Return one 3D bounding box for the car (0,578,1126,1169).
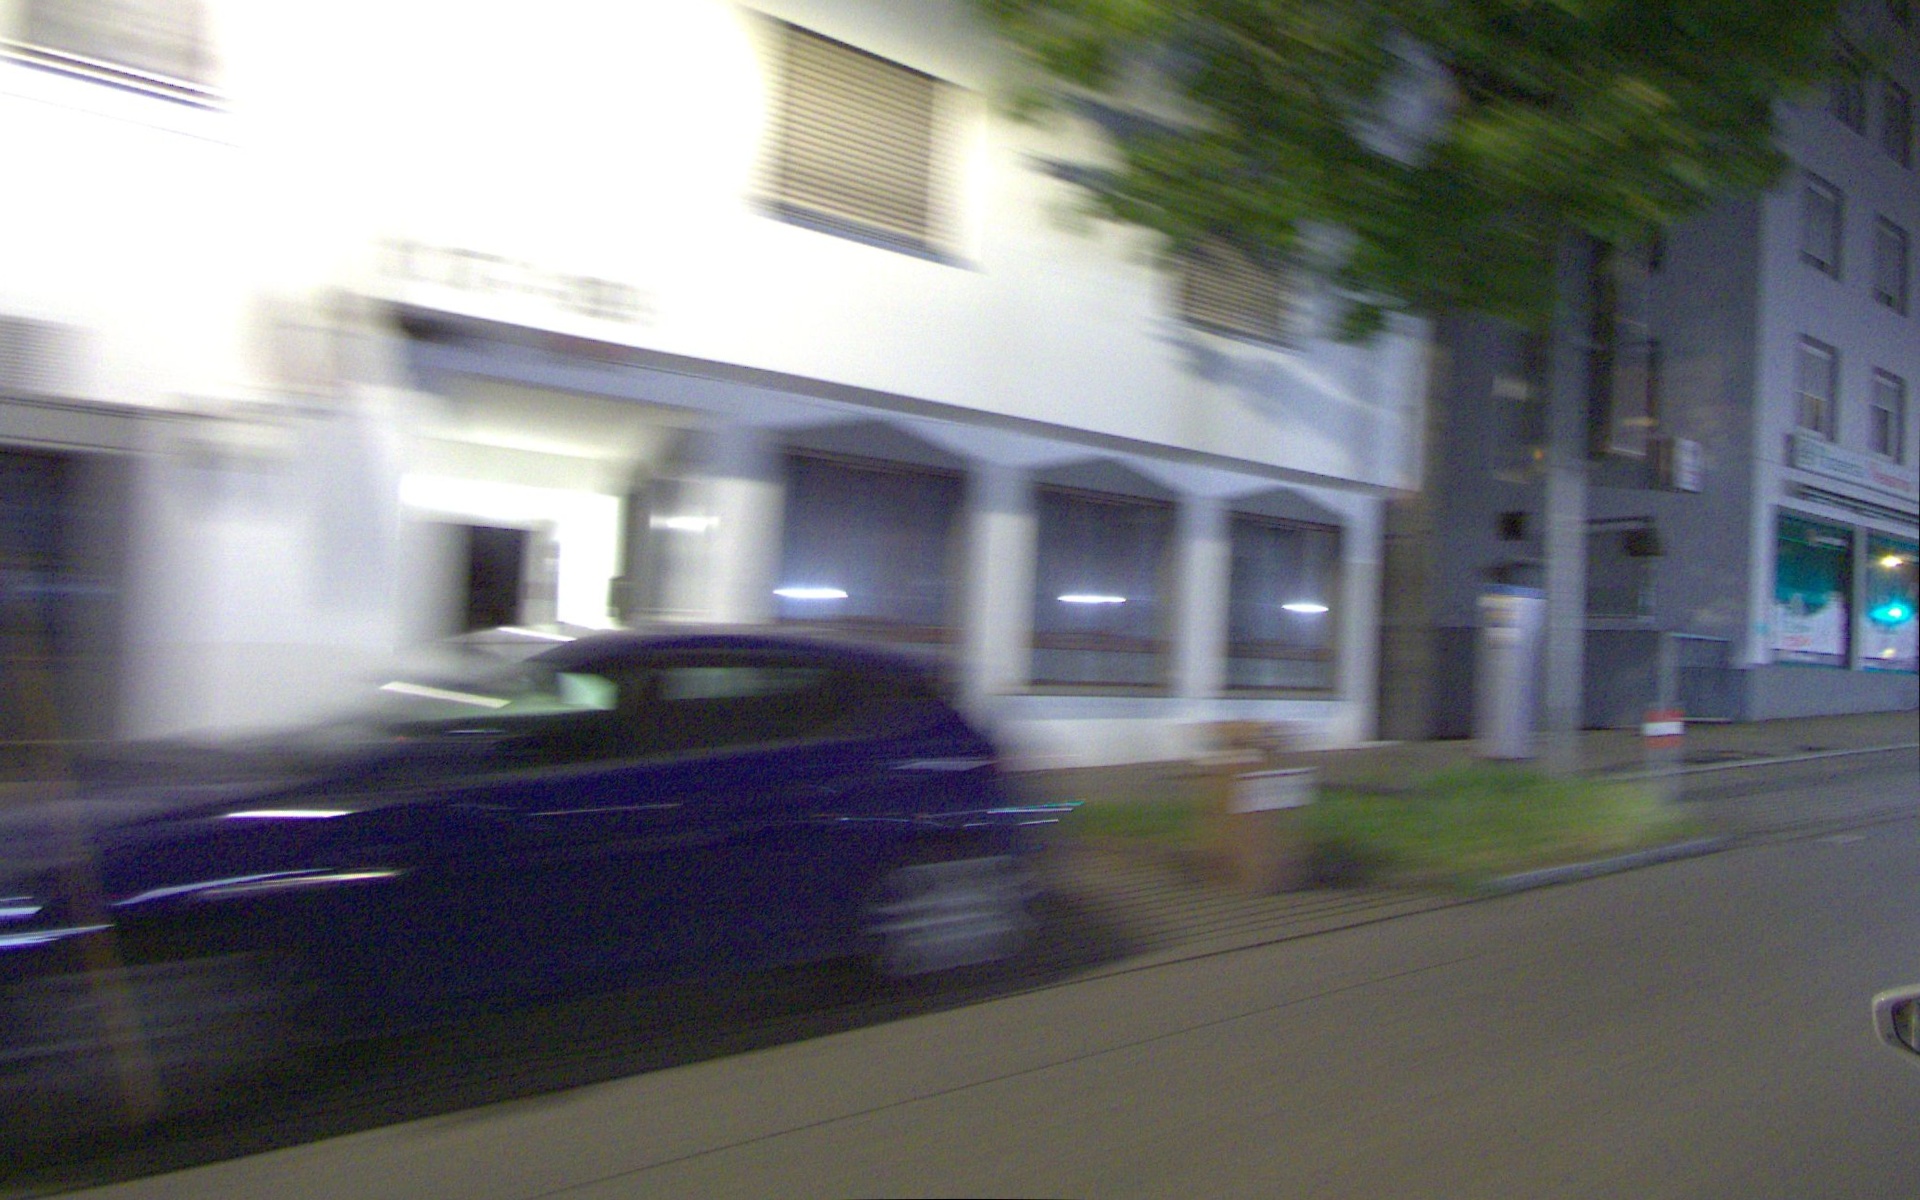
[{"bbox_3d":[-1.526,0.741,4.126,4.242,1.506,1.718,2,0,-31],"label":"car"}]
